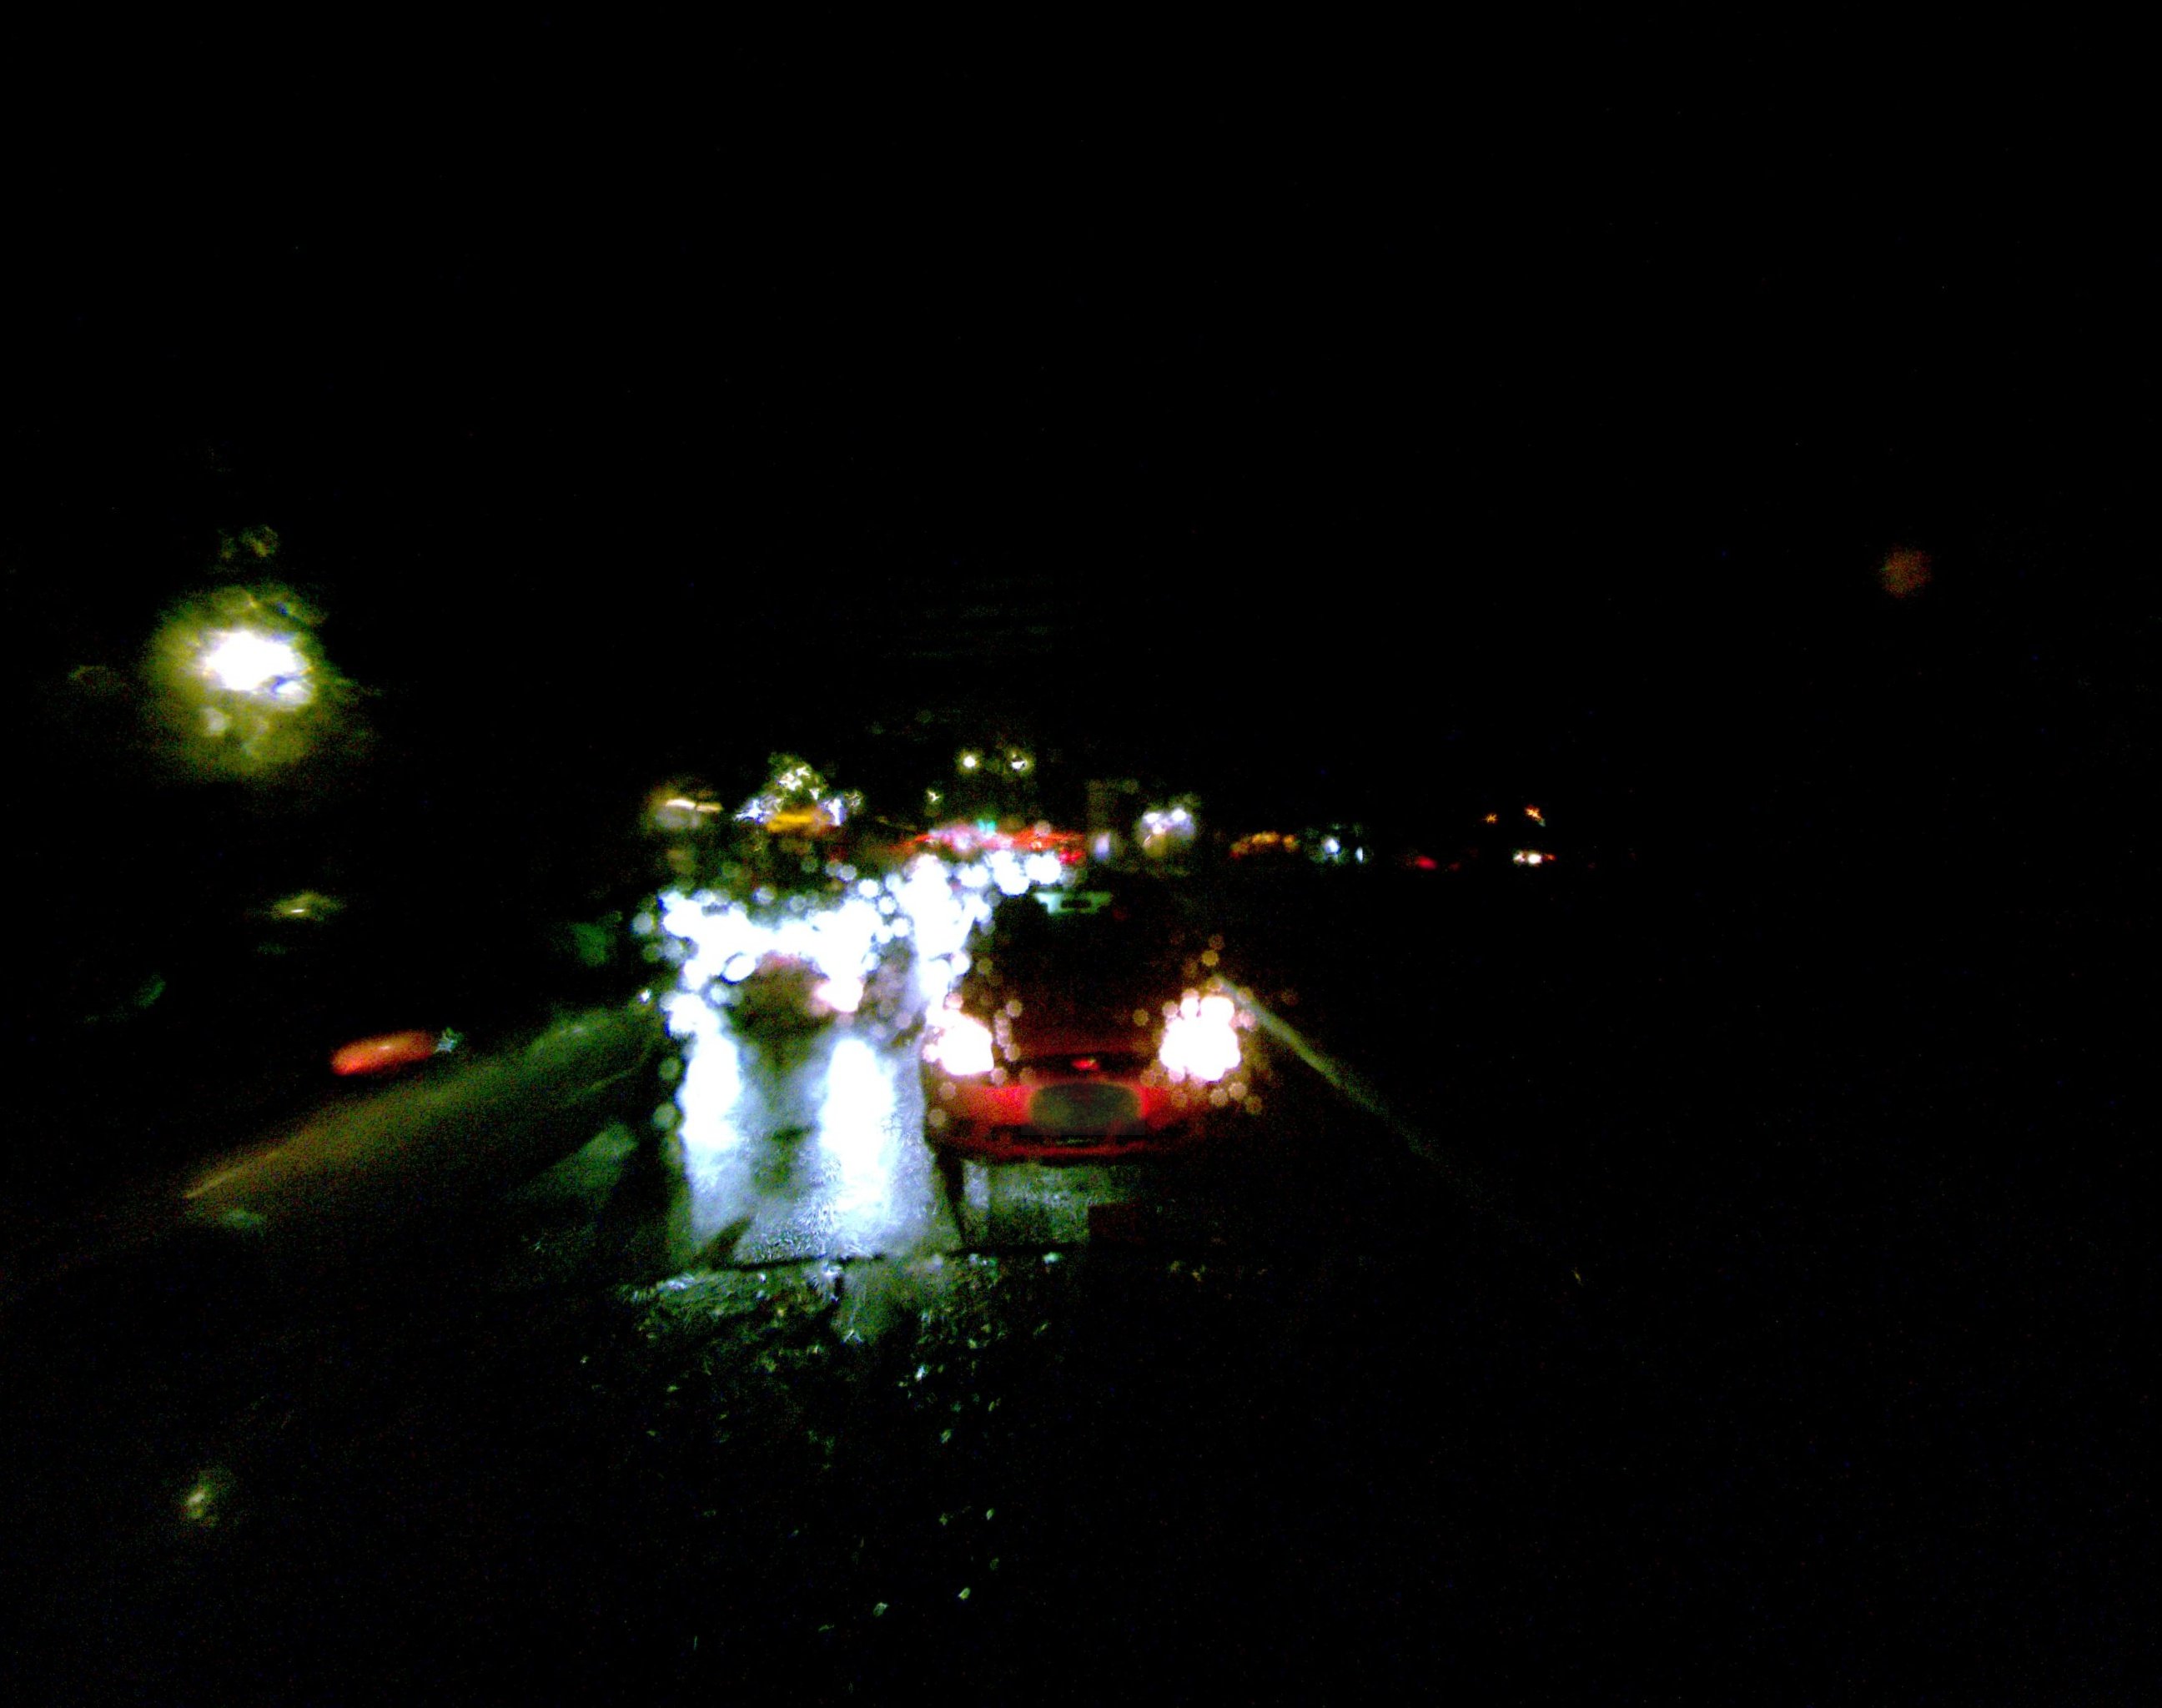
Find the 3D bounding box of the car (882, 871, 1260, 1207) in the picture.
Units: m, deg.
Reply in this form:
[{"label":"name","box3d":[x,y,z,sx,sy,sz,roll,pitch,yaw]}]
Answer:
[{"label":"car","box3d":[-0.061,0.909,5.525,1.755,1.438,3.973,0,1,0]}]

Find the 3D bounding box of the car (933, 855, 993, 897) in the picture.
[{"label":"car","box3d":[-4.452,0.778,29.173,1.698,1.455,3.973,0,1,0]}]

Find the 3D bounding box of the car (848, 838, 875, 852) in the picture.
[{"label":"car","box3d":[-23.723,-0.965,81.937,1.712,1.382,3.990,-2,1,-32]}]

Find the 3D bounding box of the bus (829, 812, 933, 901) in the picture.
[{"label":"bus","box3d":[-8.366,0.019,33.061,2.742,3.219,9.693,-2,1,-6]}]

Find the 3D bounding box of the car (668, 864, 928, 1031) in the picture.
[{"label":"car","box3d":[-3.313,0.990,9.862,1.724,1.478,4.161,-4,1,0]}]

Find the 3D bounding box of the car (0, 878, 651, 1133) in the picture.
[{"label":"car","box3d":[-6.433,1.084,7.439,1.724,1.478,4.786,-1,1,0]}]

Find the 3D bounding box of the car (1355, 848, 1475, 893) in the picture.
[{"label":"car","box3d":[12.093,0.543,27.875,2.041,1.478,4.495,0,1,-7]}]

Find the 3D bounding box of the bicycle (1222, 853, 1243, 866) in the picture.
[{"label":"bicycle","box3d":[11.058,0.406,55.655,0.629,0.899,2.210,-1,1,-14]}]

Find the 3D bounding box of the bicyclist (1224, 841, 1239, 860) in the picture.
[{"label":"bicyclist","box3d":[11.043,-0.259,55.666,0.630,1.427,1.187,-1,1,-14]}]

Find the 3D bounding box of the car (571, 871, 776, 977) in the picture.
[{"label":"car","box3d":[-7.135,1.127,13.833,1.725,1.478,4.160,0,1,-4]}]

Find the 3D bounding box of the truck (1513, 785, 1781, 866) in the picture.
[{"label":"truck","box3d":[34.564,-1.689,46.933,13.671,4.416,2.743,-1,1,7]}]

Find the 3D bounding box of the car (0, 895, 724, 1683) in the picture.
[{"label":"car","box3d":[-3.153,1.025,2.774,1.724,1.438,4.161,-1,1,0]}]

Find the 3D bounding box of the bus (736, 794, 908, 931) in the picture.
[{"label":"bus","box3d":[-7.407,0.139,23.411,2.742,3.258,9.693,-2,1,-6]}]

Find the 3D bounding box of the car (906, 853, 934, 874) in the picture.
[{"label":"car","box3d":[-15.357,0.854,72.263,2.002,1.871,3.993,-2,1,-19]}]

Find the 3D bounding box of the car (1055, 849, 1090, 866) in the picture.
[{"label":"car","box3d":[-0.845,0.292,69.132,1.832,1.456,4.418,-2,1,-19]}]

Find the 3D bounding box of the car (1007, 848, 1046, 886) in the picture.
[{"label":"car","box3d":[-2.566,0.593,36.187,1.724,1.695,3.972,0,1,-3]}]
